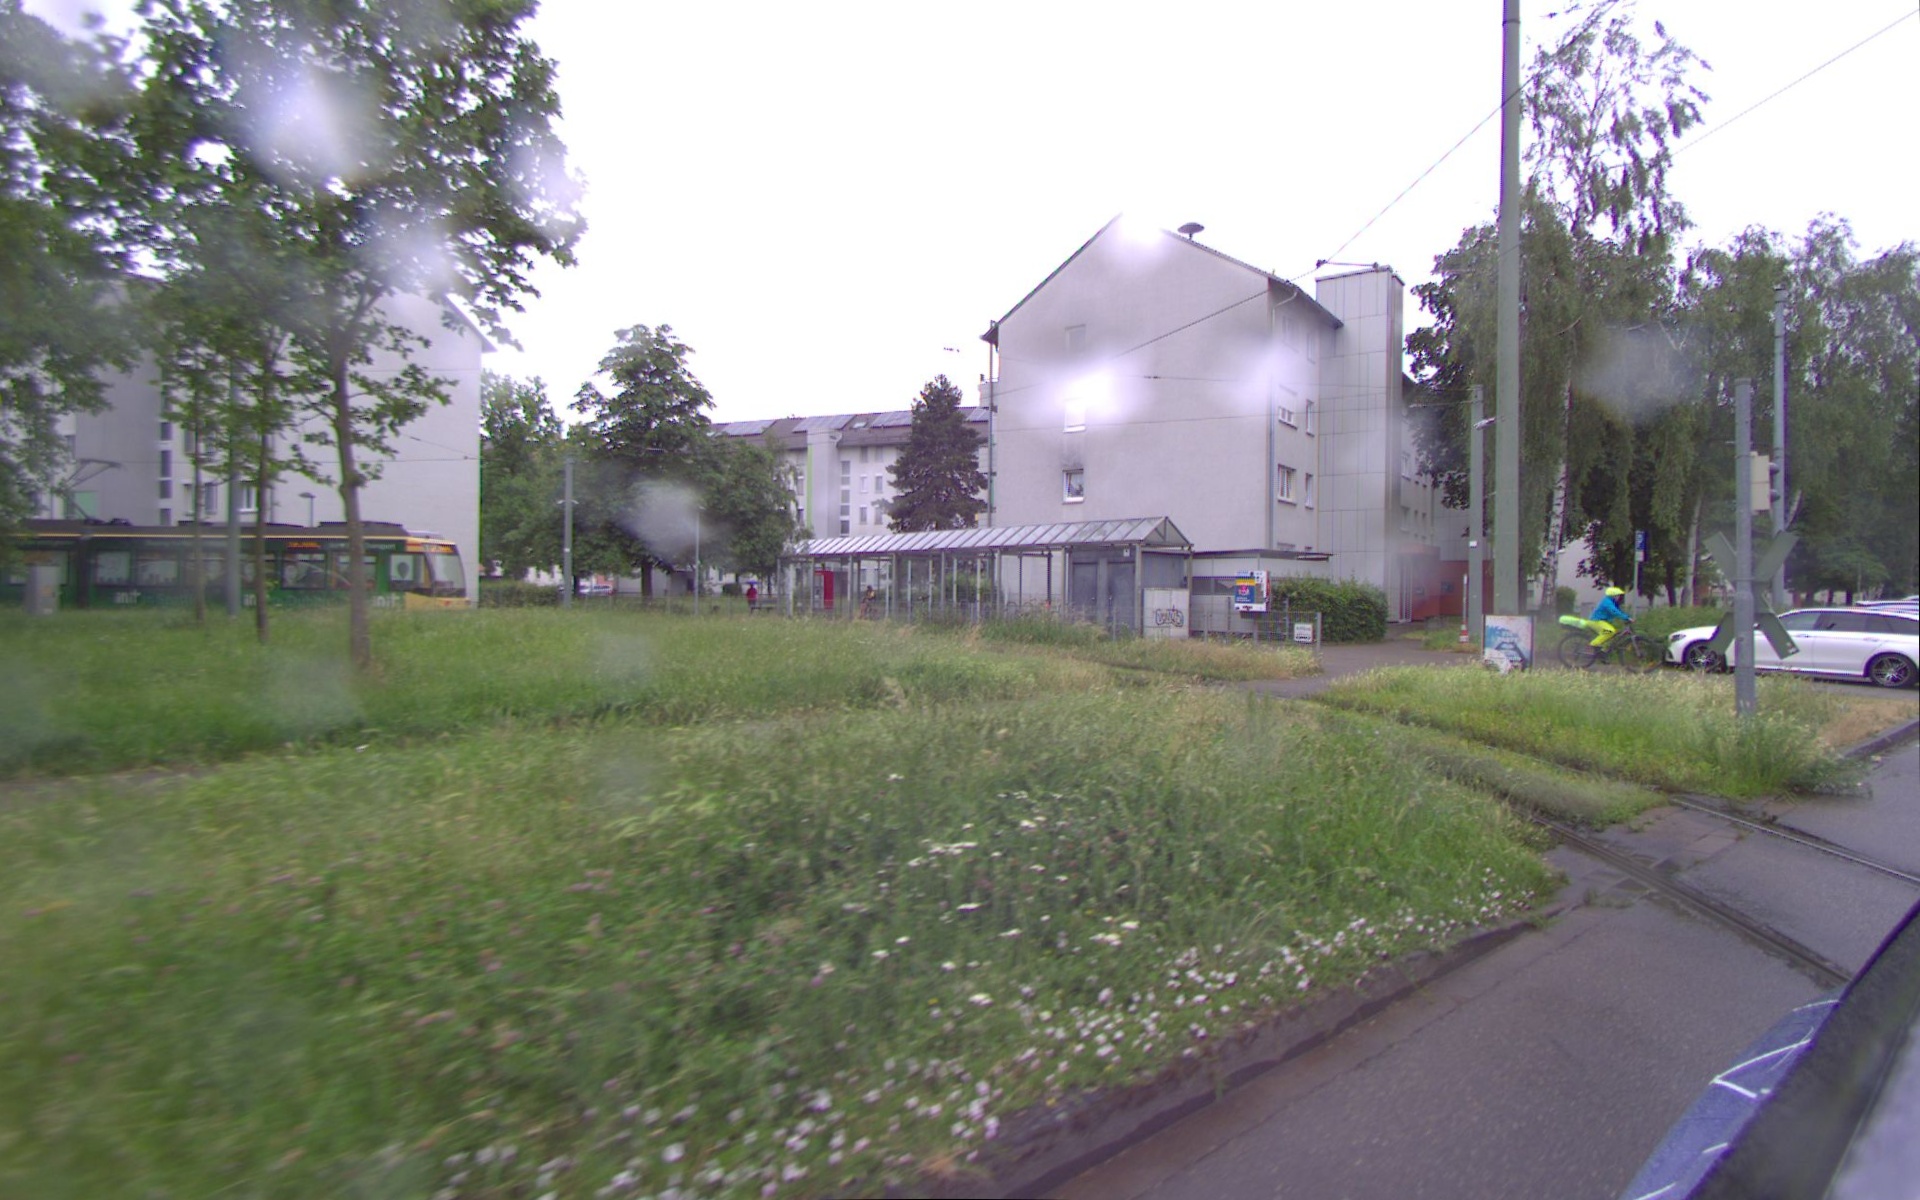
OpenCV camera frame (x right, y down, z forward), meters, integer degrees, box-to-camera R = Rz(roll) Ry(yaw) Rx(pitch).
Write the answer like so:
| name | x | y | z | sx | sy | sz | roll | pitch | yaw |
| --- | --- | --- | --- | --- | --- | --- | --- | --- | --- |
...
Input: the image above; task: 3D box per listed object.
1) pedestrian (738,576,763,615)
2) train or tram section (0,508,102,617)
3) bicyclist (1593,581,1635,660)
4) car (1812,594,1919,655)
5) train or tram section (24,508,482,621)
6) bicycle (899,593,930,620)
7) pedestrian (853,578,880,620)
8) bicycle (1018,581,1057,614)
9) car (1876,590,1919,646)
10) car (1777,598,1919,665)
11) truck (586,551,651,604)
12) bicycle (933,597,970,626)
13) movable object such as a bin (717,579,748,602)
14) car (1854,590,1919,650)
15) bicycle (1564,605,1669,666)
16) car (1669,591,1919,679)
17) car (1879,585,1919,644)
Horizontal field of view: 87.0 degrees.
| name | x | y | z | sx | sy | sz | roll | pitch | yaw |
| --- | --- | --- | --- | --- | --- | --- | --- | --- | --- |
| pedestrian | -10.592 | -0.228 | 51.130 | 1.165 | 1.908 | 1.056 | -1 | -1 | -12 |
| train or tram section | -38.284 | -1.280 | 35.861 | 14.479 | 3.636 | 2.710 | 0 | -1 | 6 |
| bicyclist | 13.061 | 0.409 | 20.221 | 0.693 | 1.536 | 0.717 | 0 | -1 | 32 |
| car | 25.804 | 0.641 | 27.317 | 1.691 | 1.606 | 3.996 | 0 | -1 | -38 |
| train or tram section | -23.875 | -1.173 | 34.396 | 14.479 | 3.636 | 2.710 | 0 | -1 | 6 |
| bicycle | -1.589 | 0.228 | 35.597 | 0.415 | 0.959 | 1.292 | -2 | -1 | 34 |
| pedestrian | -3.597 | -0.042 | 38.882 | 0.776 | 1.593 | 0.635 | 0 | -2 | -41 |
| bicycle | 2.351 | -0.073 | 30.720 | 1.215 | 0.968 | 0.377 | 0 | -1 | -37 |
| car | 33.376 | 0.582 | 33.394 | 1.691 | 1.870 | 4.440 | 0 | -1 | -38 |
| car | 22.041 | 0.716 | 23.886 | 1.691 | 1.505 | 3.996 | 0 | -1 | -38 |
| truck | -24.730 | -1.556 | 73.083 | 3.138 | 3.518 | 7.154 | 0 | -1 | -30 |
| bicycle | -0.283 | 0.376 | 33.787 | 1.215 | 0.959 | 0.377 | 0 | -1 | -37 |
| movable object such as a bin | -20.722 | -0.849 | 92.256 | 1.883 | 2.039 | 2.219 | -1 | -1 | 24 |
| car | 31.463 | 0.616 | 32.062 | 1.691 | 1.870 | 4.440 | 0 | -1 | -38 |
| bicycle | 13.069 | 0.689 | 20.199 | 1.740 | 1.144 | 0.720 | 0 | -1 | 32 |
| car | 17.348 | 0.646 | 20.213 | 1.964 | 1.476 | 4.839 | 0 | 2 | -39 |
| car | 35.404 | 0.470 | 35.568 | 1.694 | 2.088 | 4.435 | 0 | -1 | -42 |
